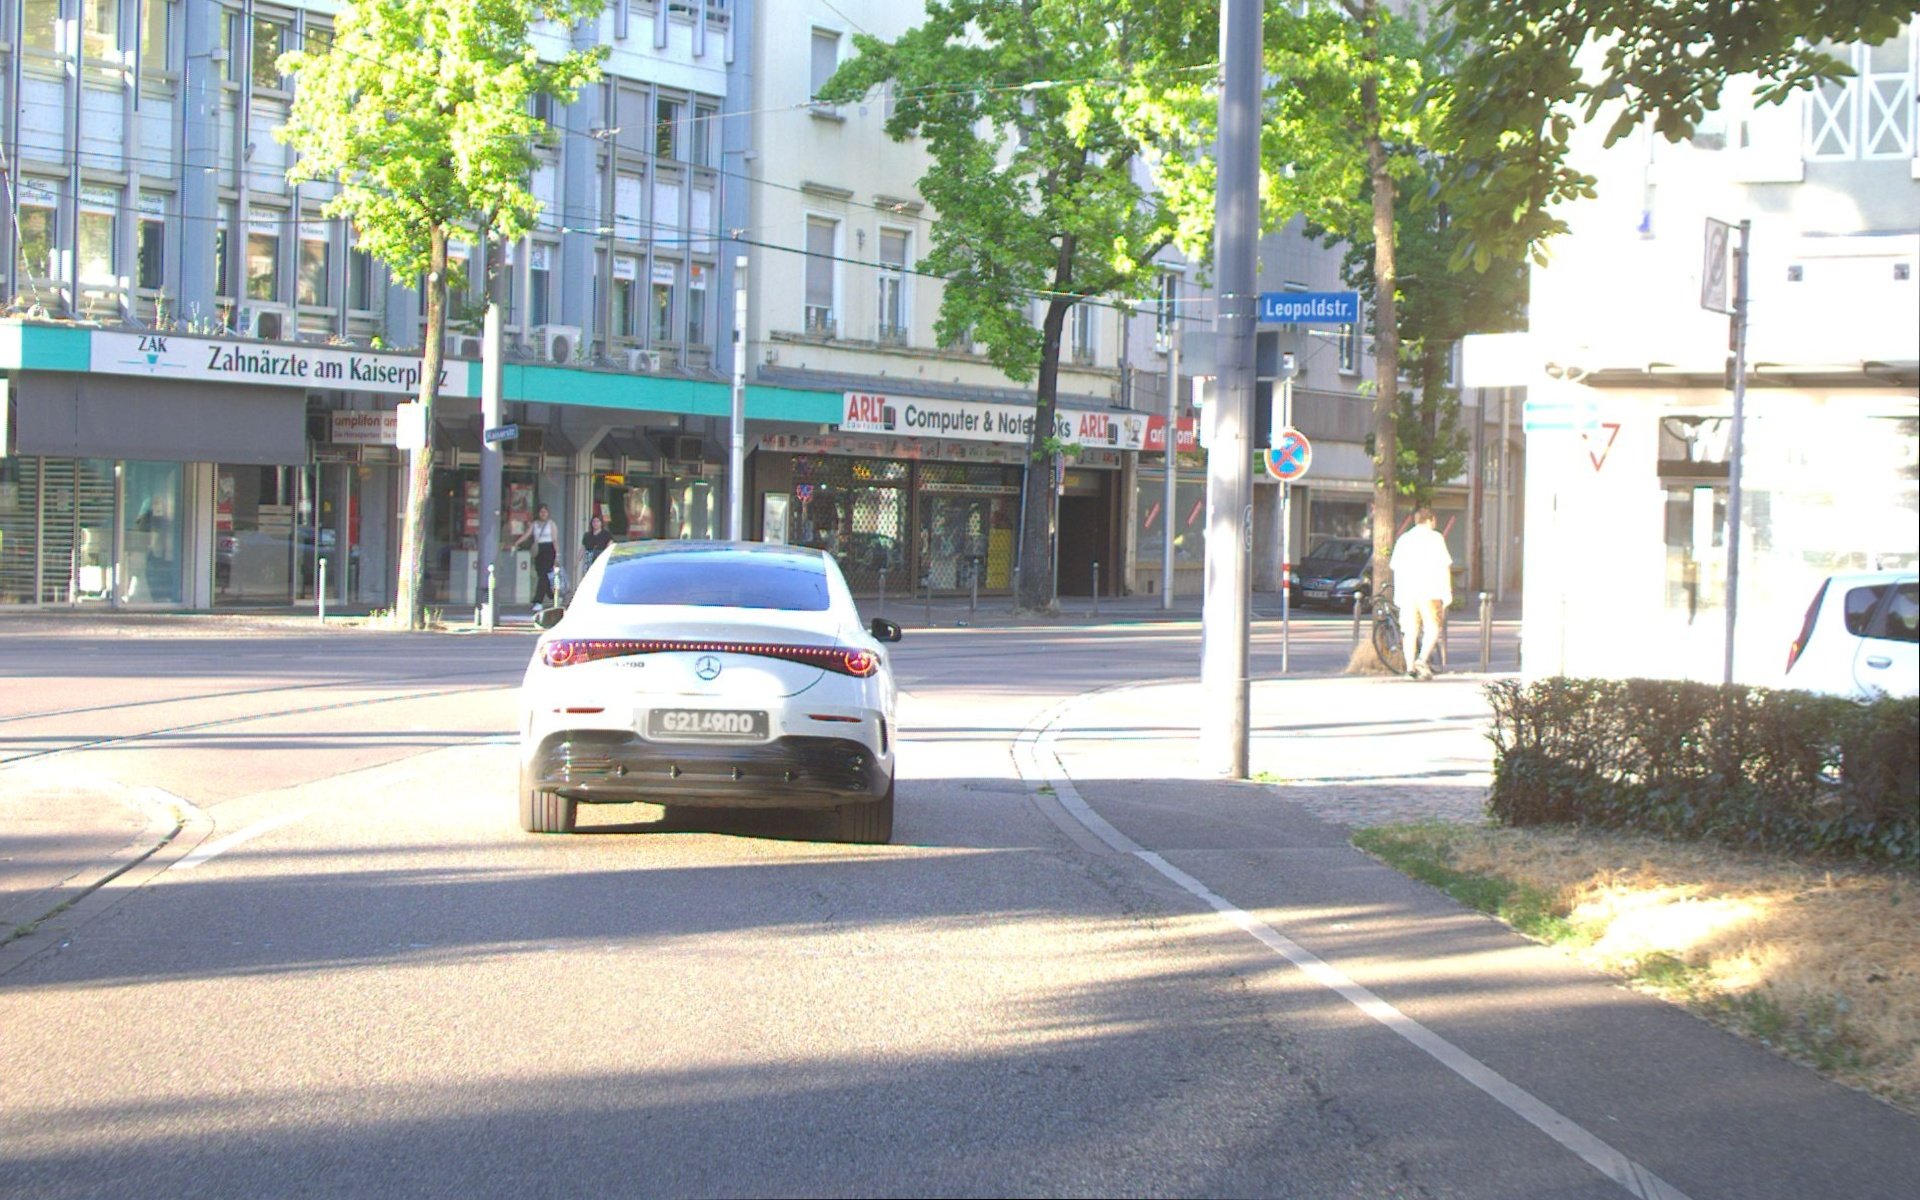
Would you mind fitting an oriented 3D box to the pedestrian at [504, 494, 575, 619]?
[{"bbox_3d":[-6.897,-0.711,56.389,0.798,2.007,0.733,3,1,32],"label":"pedestrian"}]

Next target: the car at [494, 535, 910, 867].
[{"bbox_3d":[-1.237,0.429,17.818,1.868,1.464,4.043,2,1,-1],"label":"car"}]

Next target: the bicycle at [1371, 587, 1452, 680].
[{"bbox_3d":[5.403,0.402,41.106,0.355,1.073,1.696,3,1,28],"label":"bicycle"}]

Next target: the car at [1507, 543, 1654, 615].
[{"bbox_3d":[15.844,-0.534,87.657,1.966,1.634,4.803,6,3,31],"label":"car"}]

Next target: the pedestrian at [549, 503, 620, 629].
[{"bbox_3d":[-6.128,-0.555,56.069,0.798,2.007,0.733,3,1,32],"label":"pedestrian"}]

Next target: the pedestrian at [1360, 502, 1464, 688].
[{"bbox_3d":[5.010,-0.060,38.086,0.842,2.007,0.845,3,1,25],"label":"pedestrian"}]

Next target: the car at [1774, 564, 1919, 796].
[{"bbox_3d":[7.523,0.575,23.173,3.572,1.508,1.736,2,1,30],"label":"car"}]

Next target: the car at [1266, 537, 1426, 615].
[{"bbox_3d":[8.632,-0.519,76.632,1.965,1.634,3.993,3,1,32],"label":"car"}]
